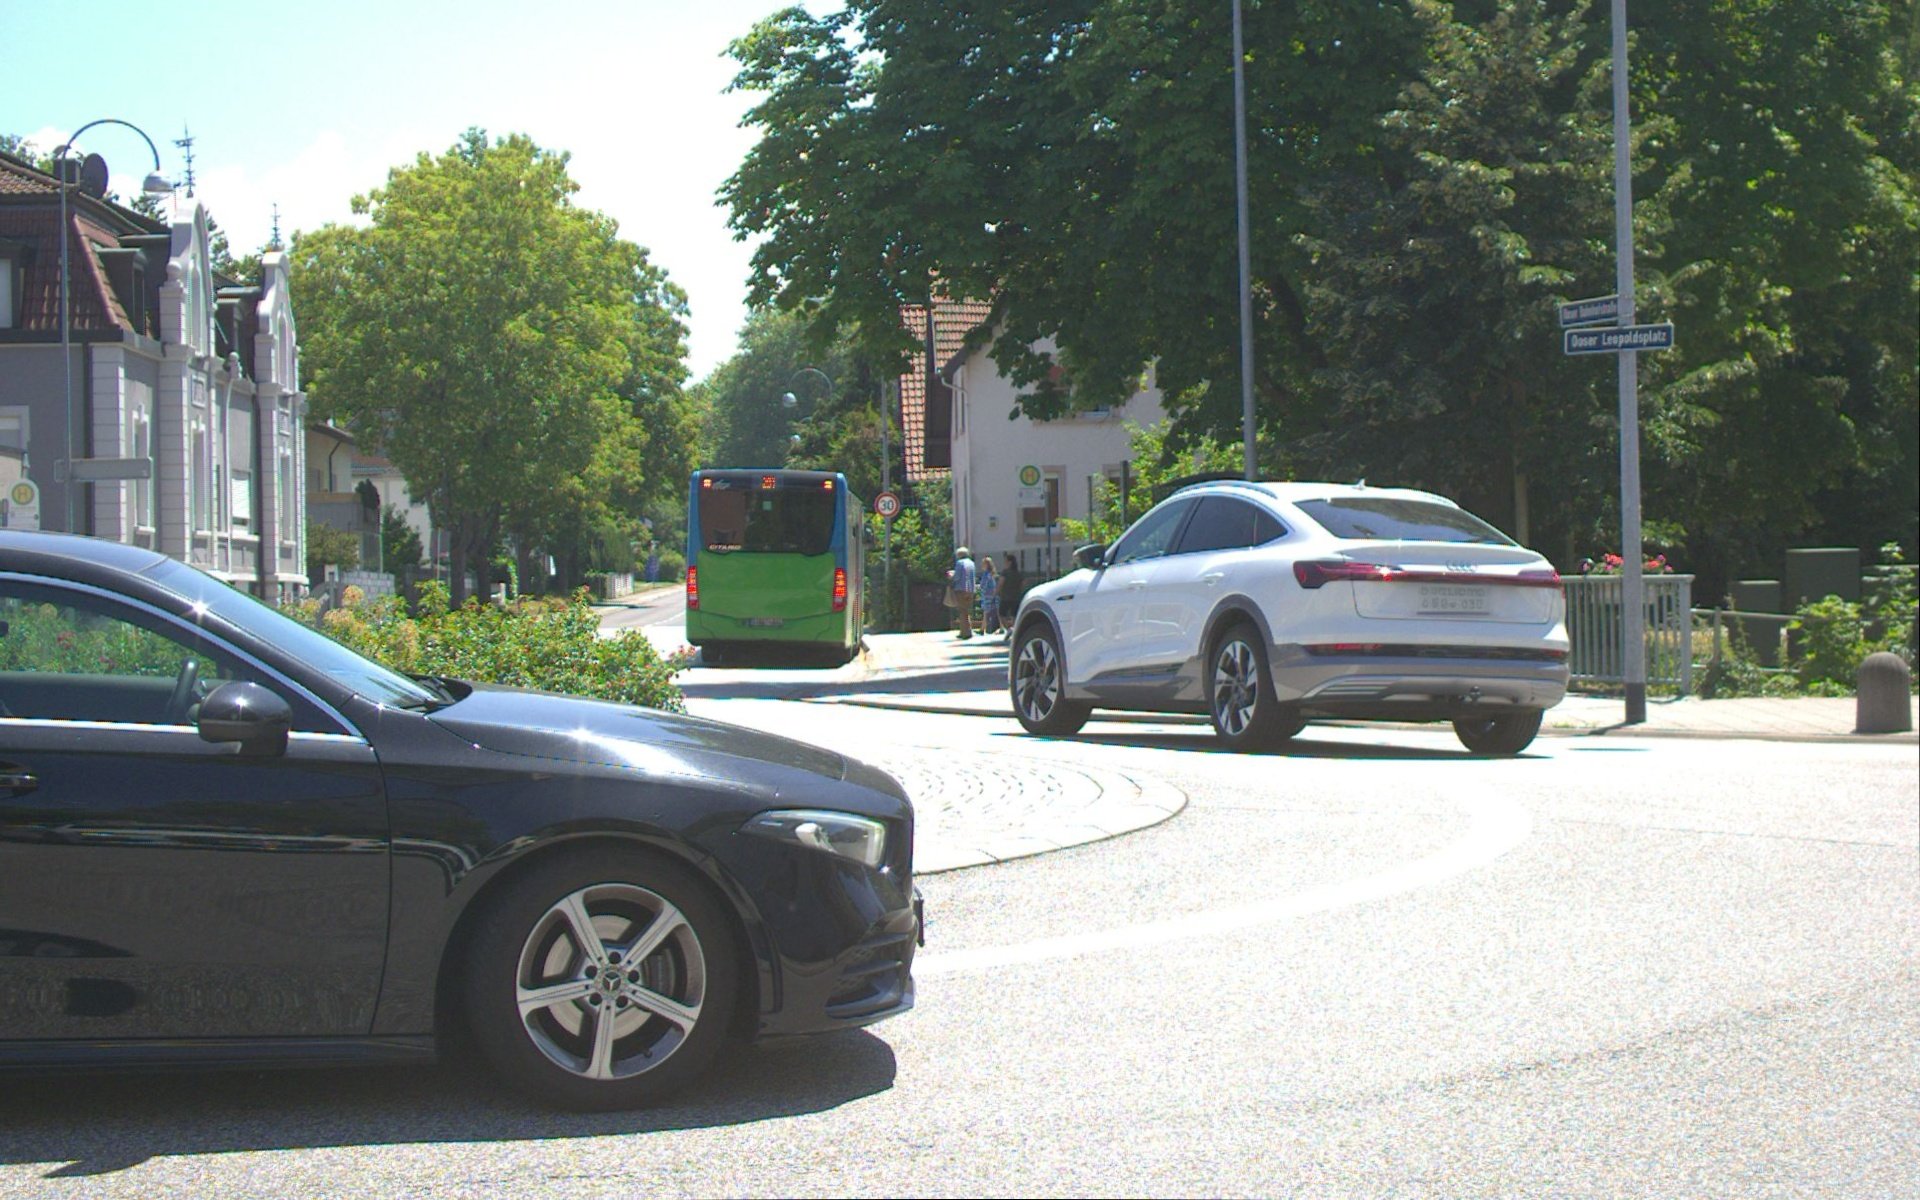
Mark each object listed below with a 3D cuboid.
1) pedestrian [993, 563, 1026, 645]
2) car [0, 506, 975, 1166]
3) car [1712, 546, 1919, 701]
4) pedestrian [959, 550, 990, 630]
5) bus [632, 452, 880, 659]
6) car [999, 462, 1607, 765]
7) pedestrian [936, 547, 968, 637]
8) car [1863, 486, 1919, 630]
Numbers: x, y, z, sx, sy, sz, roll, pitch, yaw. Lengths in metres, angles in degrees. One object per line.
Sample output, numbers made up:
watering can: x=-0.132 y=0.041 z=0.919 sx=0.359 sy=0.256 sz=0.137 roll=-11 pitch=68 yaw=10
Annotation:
pedestrian: x=0.875 y=0.069 z=61.169 sx=0.489 sy=1.449 sz=0.531 roll=-1 pitch=1 yaw=-8
car: x=-2.312 y=0.534 z=8.699 sx=4.422 sy=1.452 sz=1.769 roll=-1 pitch=2 yaw=-11
car: x=9.849 y=0.218 z=36.856 sx=3.048 sy=1.547 sz=1.635 roll=-2 pitch=1 yaw=-16
pedestrian: x=0.275 y=-0.195 z=66.419 sx=0.488 sy=1.517 sz=0.543 roll=-1 pitch=1 yaw=-8
bus: x=-3.358 y=-0.716 z=62.134 sx=3.706 sy=3.160 sz=18.070 roll=1 pitch=0 yaw=-1
car: x=1.988 y=0.078 z=21.425 sx=1.898 sy=1.656 sz=4.410 roll=2 pitch=0 yaw=-22
pedestrian: x=-0.151 y=-0.149 z=63.805 sx=0.502 sy=1.644 sz=0.580 roll=-1 pitch=1 yaw=-8
car: x=14.901 y=-0.614 z=47.959 sx=1.994 sy=2.007 sz=3.998 roll=-2 pitch=1 yaw=-42
